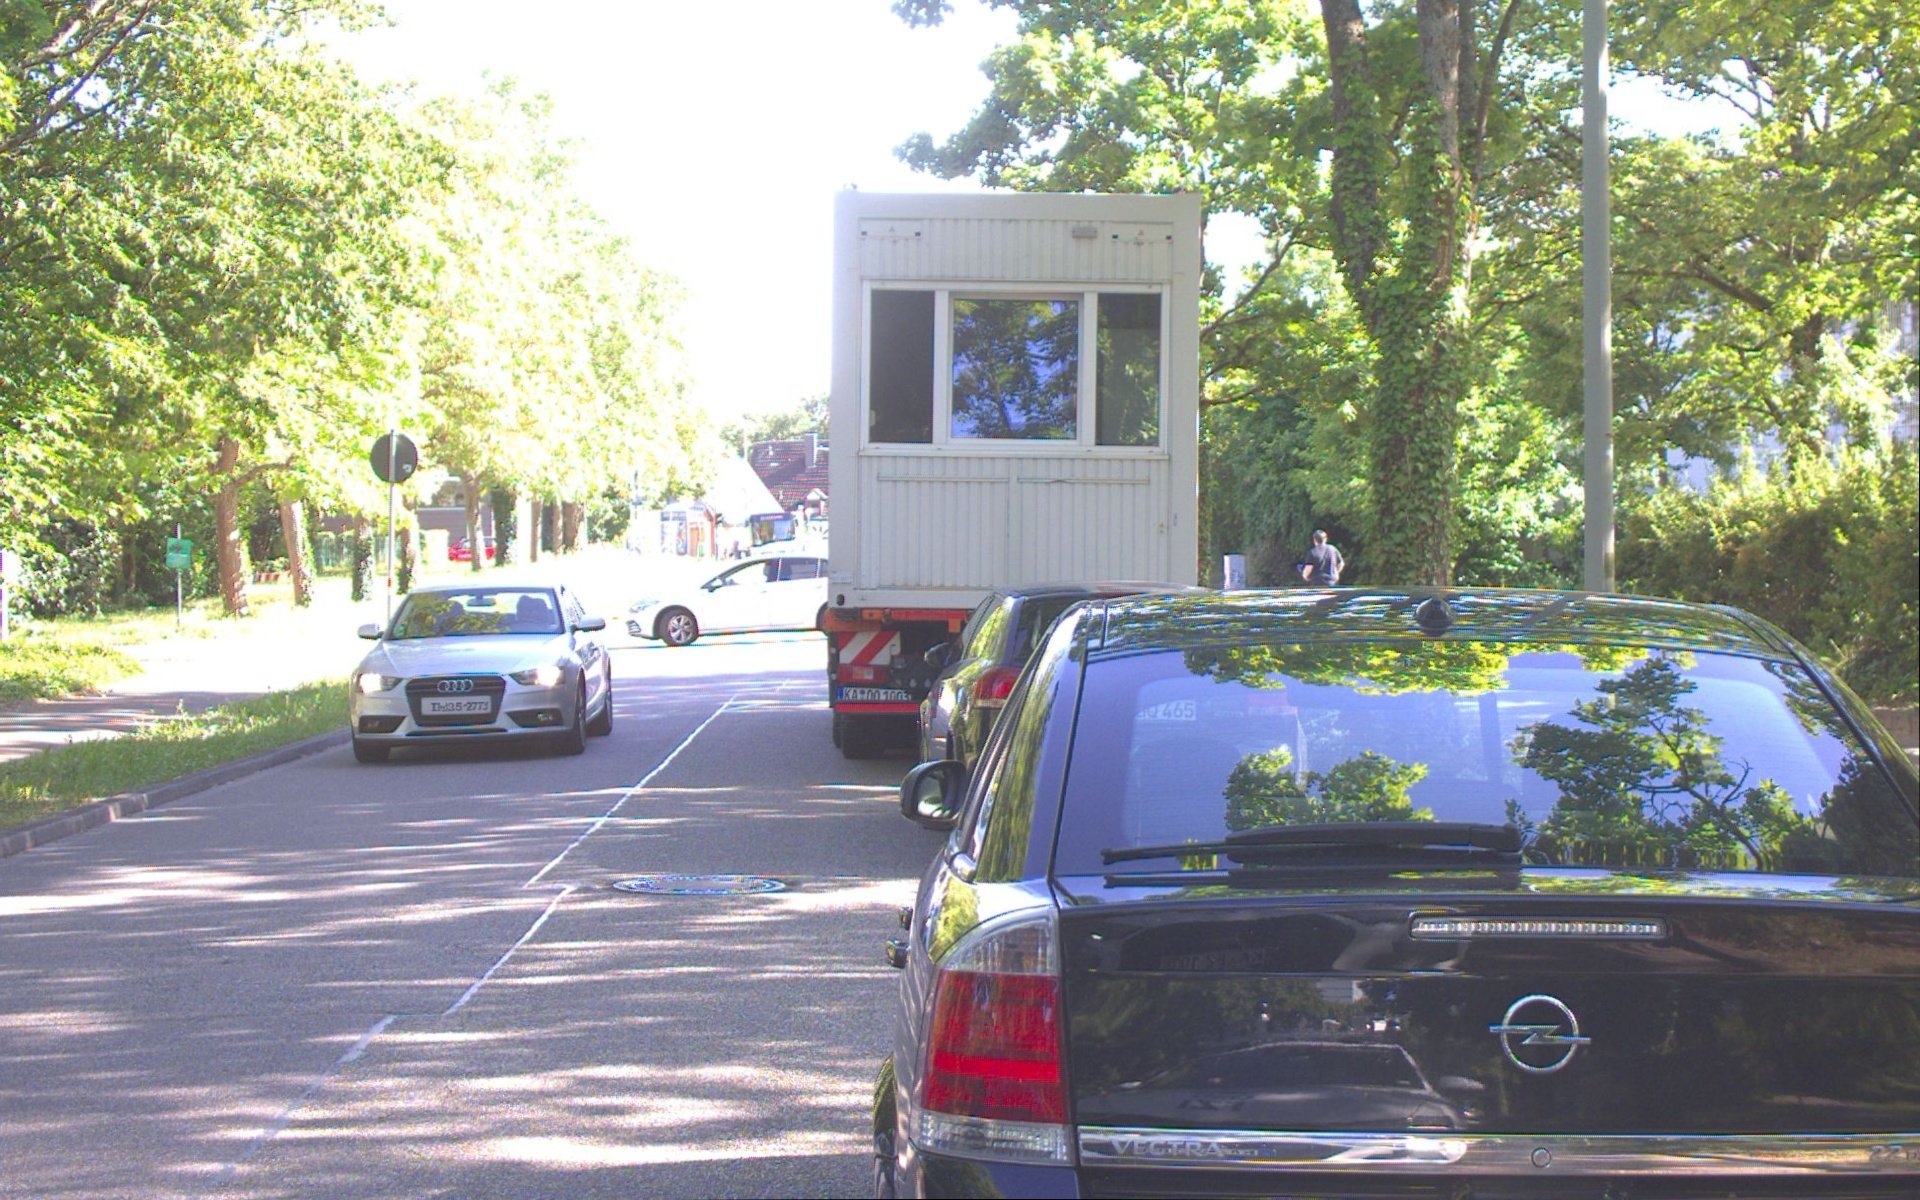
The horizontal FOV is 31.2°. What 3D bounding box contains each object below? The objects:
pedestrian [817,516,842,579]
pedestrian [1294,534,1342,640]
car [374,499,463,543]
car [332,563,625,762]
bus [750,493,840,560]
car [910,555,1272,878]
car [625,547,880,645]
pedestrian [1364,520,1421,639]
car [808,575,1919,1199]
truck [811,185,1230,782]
[{"bbox_3d":[-4.364,-1.759,114.927,0.752,2.106,0.799,1,1,2],"label":"pedestrian"},{"bbox_3d":[5.517,-0.207,53.029,0.598,1.605,0.600,-2,1,-4],"label":"pedestrian"},{"bbox_3d":[-26.991,-3.948,171.455,3.987,2.007,2.000,-2,1,1],"label":"car"},{"bbox_3d":[-3.884,0.454,28.378,1.786,1.412,4.105,-2,1,0],"label":"car"},{"bbox_3d":[-8.737,-3.941,183.108,4.065,3.337,9.801,-2,1,1],"label":"bus"},{"bbox_3d":[0.643,0.520,18.078,1.640,1.415,4.000,-2,1,1],"label":"car"},{"bbox_3d":[-3.369,-0.070,56.276,3.946,1.415,1.811,-2,1,3],"label":"car"},{"bbox_3d":[6.669,-0.318,53.017,0.698,1.806,0.700,-2,1,-4],"label":"pedestrian"},{"bbox_3d":[0.712,0.700,6.159,1.748,1.475,4.030,0,0,1],"label":"car"},{"bbox_3d":[0.245,-0.886,28.329,2.772,3.982,10.349,1,1,-2],"label":"truck"}]
